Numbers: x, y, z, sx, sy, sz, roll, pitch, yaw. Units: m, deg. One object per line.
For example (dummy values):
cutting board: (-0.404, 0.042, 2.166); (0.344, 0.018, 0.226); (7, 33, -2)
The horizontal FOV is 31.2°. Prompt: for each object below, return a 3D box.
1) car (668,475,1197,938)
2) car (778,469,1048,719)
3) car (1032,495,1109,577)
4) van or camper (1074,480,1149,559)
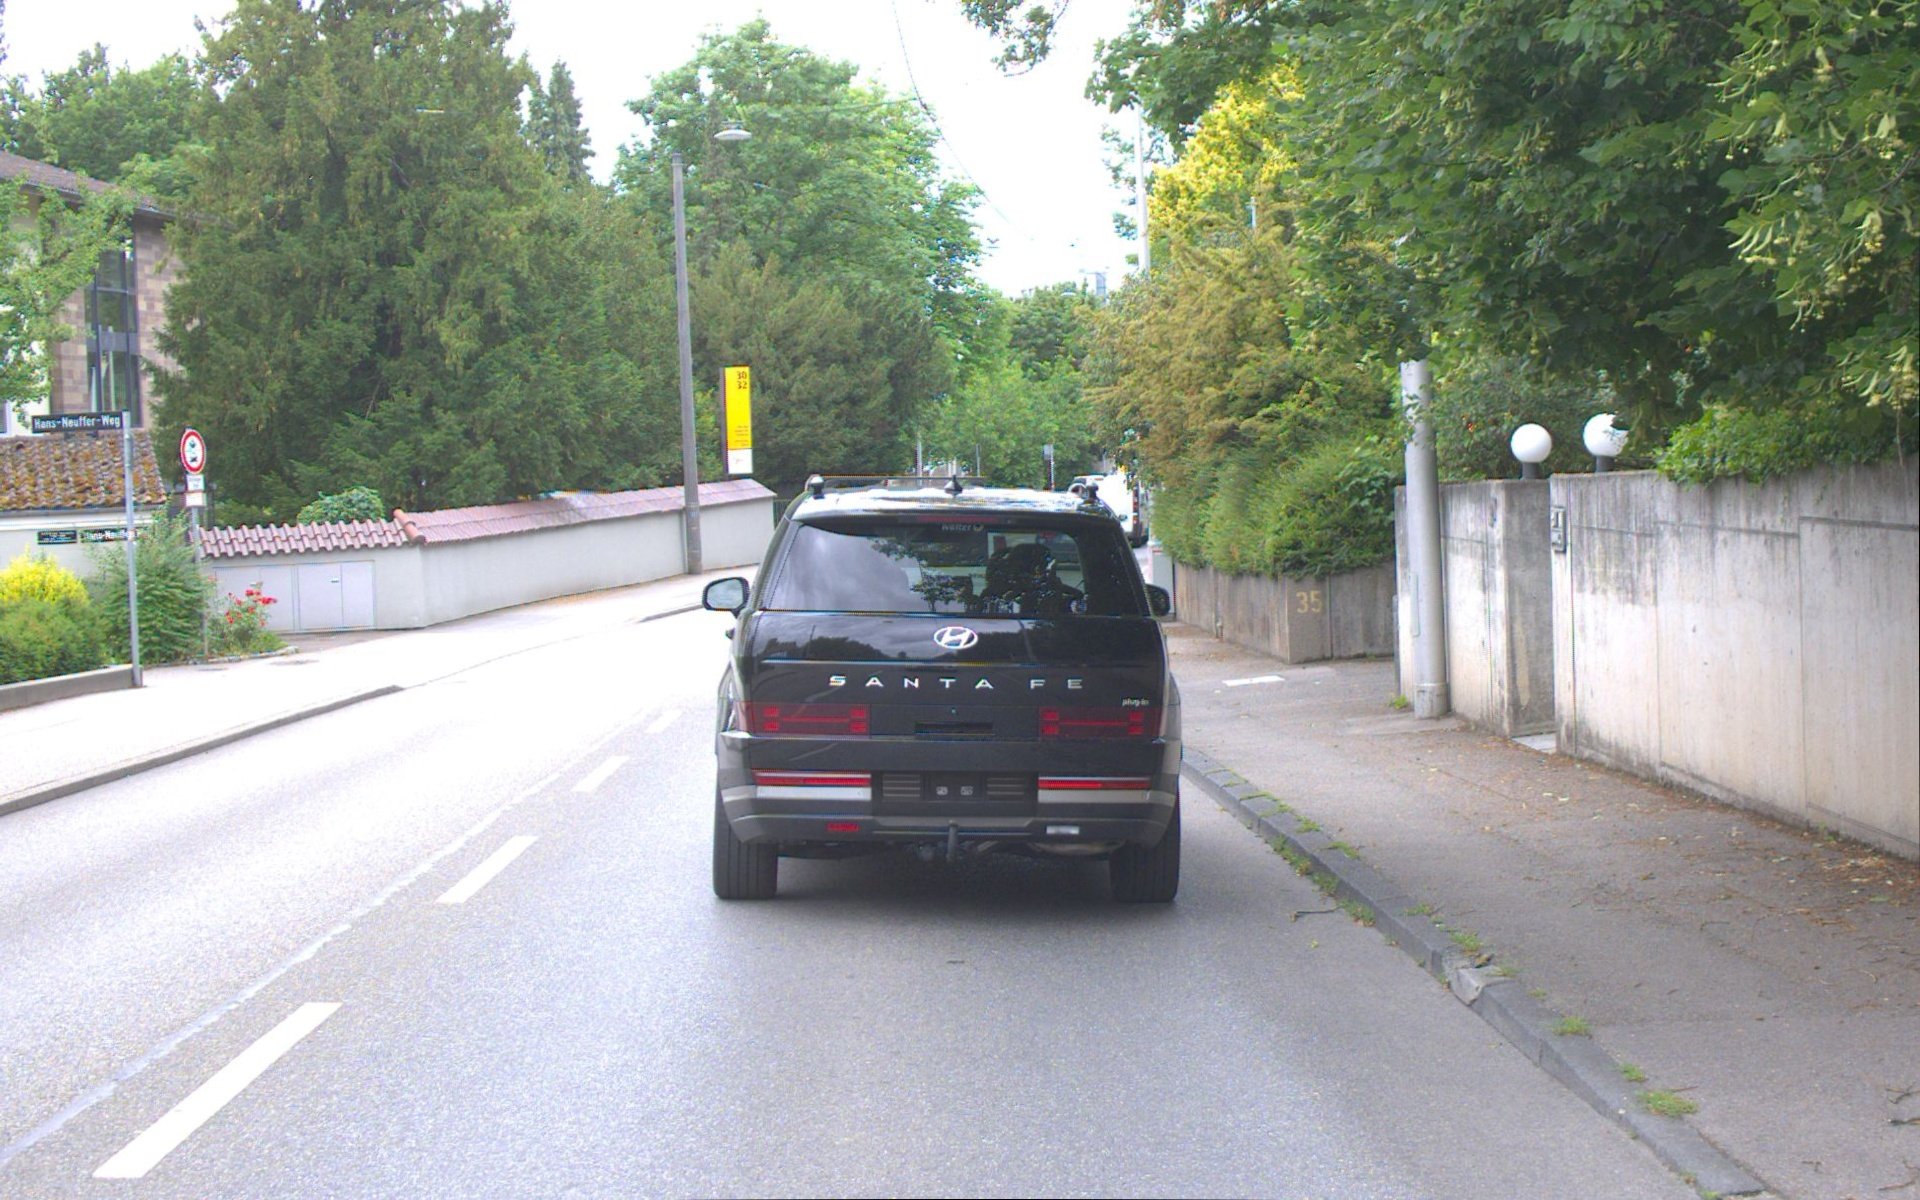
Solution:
car: (-0.139, 0.350, 15.033); (1.957, 1.707, 4.224); (1, 1, -1)
car: (-0.332, -0.127, 30.158); (1.957, 1.949, 4.223); (1, 3, 4)
car: (2.609, -1.508, 80.377); (1.676, 1.417, 3.939); (-2, 8, 3)
van or camper: (4.162, -2.215, 94.032); (1.676, 2.000, 3.937); (-2, 3, 7)
